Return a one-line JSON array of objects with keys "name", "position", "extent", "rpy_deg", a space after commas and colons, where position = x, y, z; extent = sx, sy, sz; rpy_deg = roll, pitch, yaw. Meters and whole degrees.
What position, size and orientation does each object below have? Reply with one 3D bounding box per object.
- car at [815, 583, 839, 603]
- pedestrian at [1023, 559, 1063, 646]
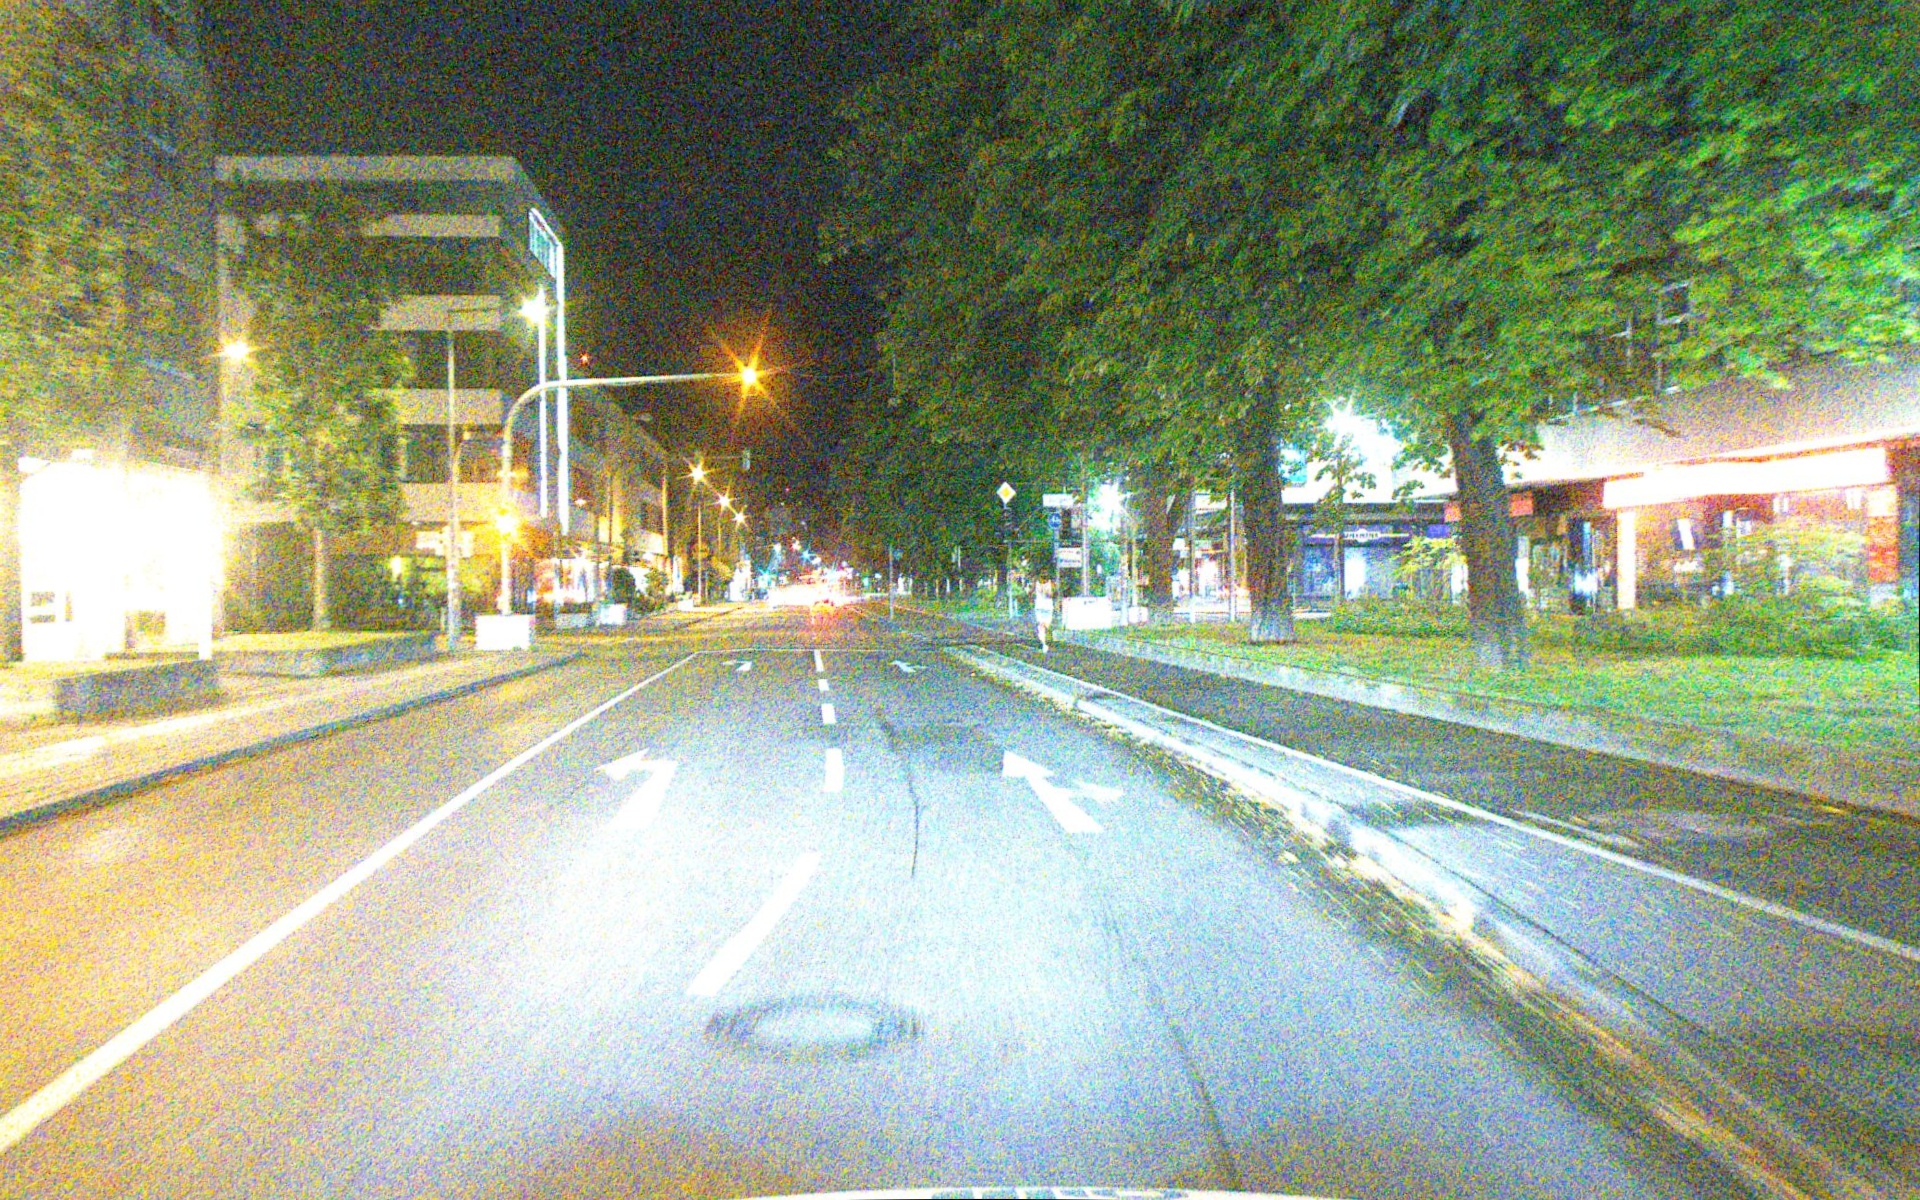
[{"name": "car", "position": [-11.655, -0.624, 144.950], "extent": [1.955, 1.672, 3.995], "rpy_deg": [-2, 1, -6]}, {"name": "pedestrian", "position": [1.813, 0.057, 36.089], "extent": [0.689, 1.850, 1.081], "rpy_deg": [-1, 0, -5]}]
